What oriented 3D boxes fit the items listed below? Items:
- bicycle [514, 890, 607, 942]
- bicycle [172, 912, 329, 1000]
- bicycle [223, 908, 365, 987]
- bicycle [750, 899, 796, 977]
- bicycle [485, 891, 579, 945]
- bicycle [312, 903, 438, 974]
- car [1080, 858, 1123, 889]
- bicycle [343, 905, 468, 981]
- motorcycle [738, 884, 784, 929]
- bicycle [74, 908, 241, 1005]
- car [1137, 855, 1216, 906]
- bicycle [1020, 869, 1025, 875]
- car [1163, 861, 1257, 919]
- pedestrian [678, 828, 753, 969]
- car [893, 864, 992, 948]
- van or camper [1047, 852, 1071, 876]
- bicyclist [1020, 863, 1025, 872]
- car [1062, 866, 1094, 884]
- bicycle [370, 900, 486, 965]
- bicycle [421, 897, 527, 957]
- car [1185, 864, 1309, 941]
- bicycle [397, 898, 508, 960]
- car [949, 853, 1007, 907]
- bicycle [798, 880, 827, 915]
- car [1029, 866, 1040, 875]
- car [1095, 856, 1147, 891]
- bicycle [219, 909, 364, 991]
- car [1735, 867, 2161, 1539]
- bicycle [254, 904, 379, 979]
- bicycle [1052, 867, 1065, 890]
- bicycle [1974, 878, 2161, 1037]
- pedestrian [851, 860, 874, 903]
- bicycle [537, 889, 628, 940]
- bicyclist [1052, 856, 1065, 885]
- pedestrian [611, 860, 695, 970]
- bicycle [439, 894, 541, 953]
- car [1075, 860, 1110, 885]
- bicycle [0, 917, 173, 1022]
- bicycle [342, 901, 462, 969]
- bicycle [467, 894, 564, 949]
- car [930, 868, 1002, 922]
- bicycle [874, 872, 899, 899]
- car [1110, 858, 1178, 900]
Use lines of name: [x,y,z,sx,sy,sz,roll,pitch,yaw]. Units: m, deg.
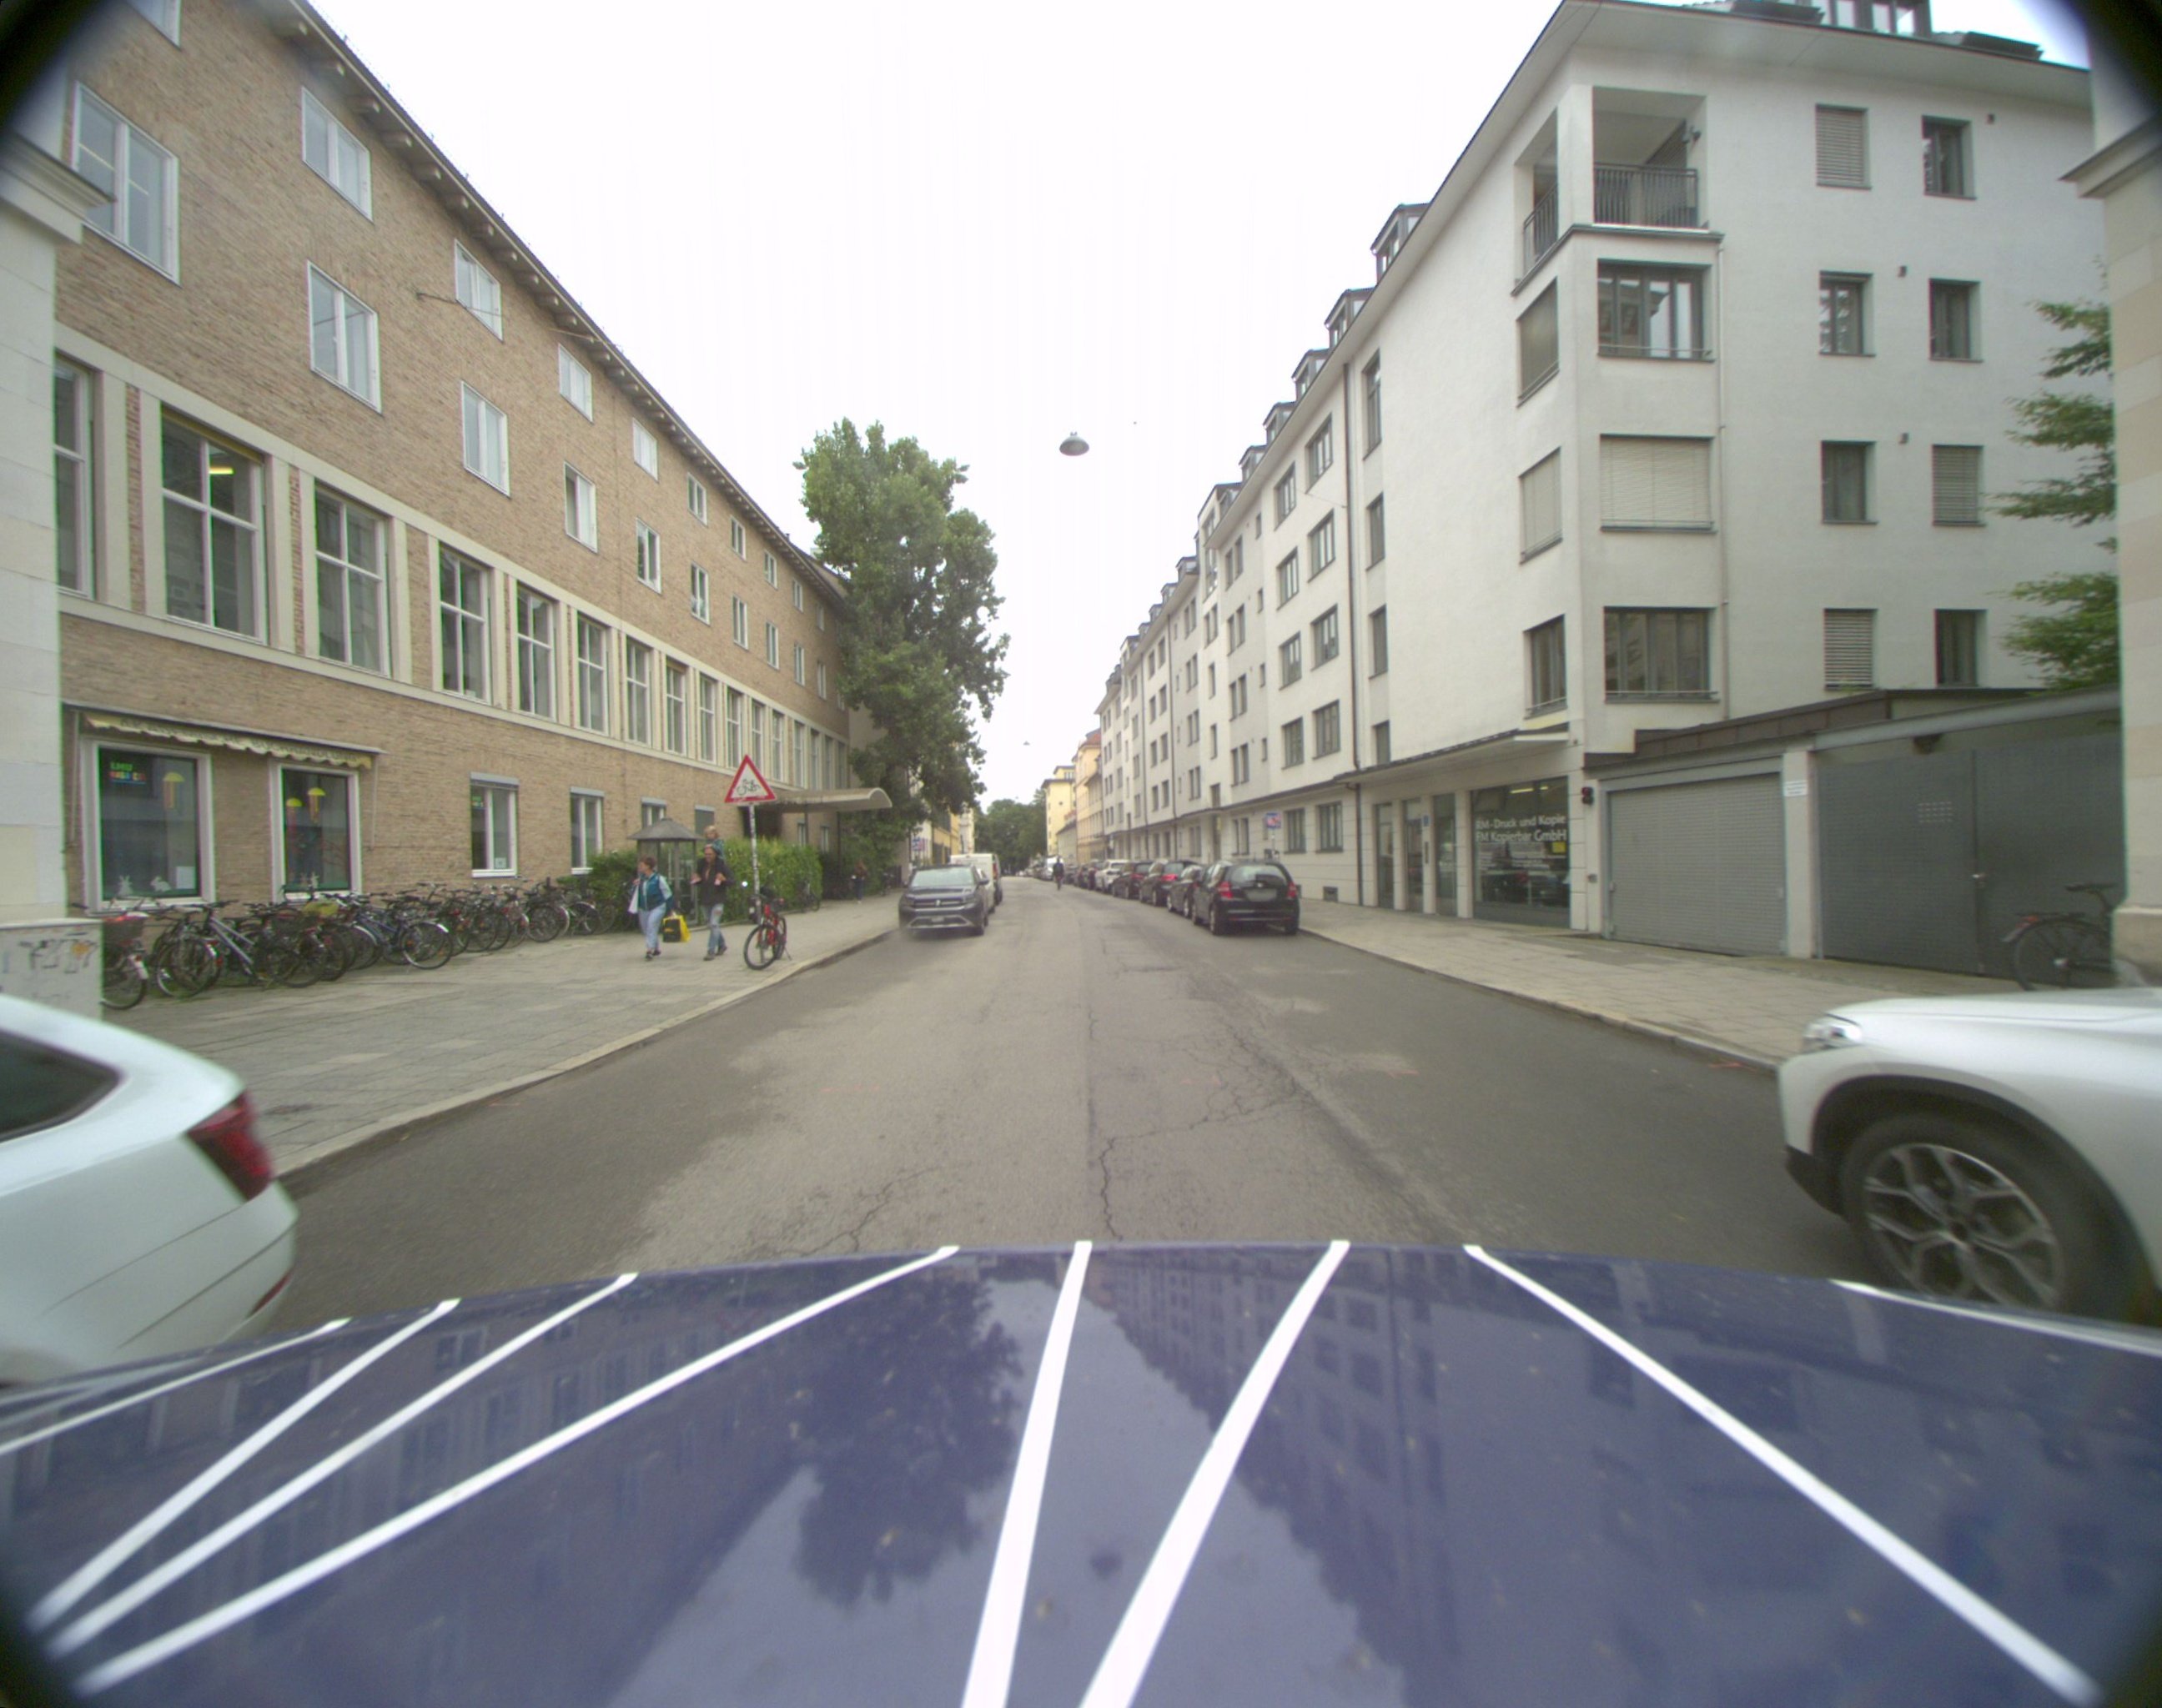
bicycle: [-10.746,1.270,15.699,1.634,1.035,0.348,0,0,-4]
bicycle: [-10.237,1.248,9.376,1.633,1.035,0.348,0,0,4]
bicycle: [-10.845,1.283,10.486,1.633,1.035,0.348,0,0,2]
bicycle: [-4.716,1.254,11.698,0.348,1.035,1.633,1,0,-12]
bicycle: [-10.808,1.254,14.971,1.633,1.035,0.348,0,0,2]
bicycle: [-10.724,1.273,11.555,1.633,1.035,0.348,0,0,2]
car: [1.105,1.114,43.341,1.878,1.678,4.518,0,-1,-6]
bicycle: [-9.660,1.260,10.887,1.433,1.035,0.348,0,0,-2]
motorcycle: [-8.364,1.340,19.911,0.490,1.047,1.923,-2,0,-5]
bicycle: [-10.843,1.196,8.931,1.633,1.088,0.348,0,0,4]
car: [3.225,0.893,26.465,1.878,1.648,4.078,0,-1,-6]
bicycle: [-10.868,3.322,140.993,0.735,1.144,1.998,-2,-1,-7]
car: [3.456,0.947,21.093,1.755,1.444,4.015,0,-1,-2]
pedestrian: [-5.887,0.696,12.279,0.795,2.185,0.814,0,1,4]
car: [-3.015,1.068,17.316,1.752,1.584,3.954,-2,0,-4]
van or camper: [-2.277,1.053,77.557,1.999,2.297,5.476,-1,0,-5]
bicyclist: [-10.853,2.464,141.029,0.688,1.617,0.852,-2,0,-7]
car: [-0.238,1.600,58.127,1.645,1.346,4.055,0,-1,-12]
bicycle: [-10.692,1.281,12.460,1.633,1.035,0.348,0,0,2]
bicycle: [-10.767,1.286,13.483,1.633,1.035,0.348,0,0,2]
car: [3.410,0.956,16.355,1.755,1.444,4.016,0,-1,-1]
bicycle: [-10.791,1.283,13.058,1.633,1.035,0.348,0,0,2]
car: [-3.978,0.956,30.004,1.887,1.913,4.873,-2,0,-4]
bicycle: [-8.532,1.366,24.206,0.423,1.047,1.488,-2,0,-2]
car: [-8.142,2.864,133.703,1.712,1.490,3.998,-1,-1,-6]
car: [1.902,0.970,37.959,1.878,1.648,4.588,0,-1,-6]
bicycle: [-10.379,1.256,10.000,1.633,1.035,0.348,0,0,4]
car: [3.417,0.828,0.787,1.783,1.526,4.210,0,0,-1]
bicycle: [-11.146,1.270,11.092,1.433,1.035,0.348,0,0,-2]
bicycle: [-1.234,1.320,41.839,0.650,1.190,1.950,-1,0,-3]
bicycle: [8.180,0.784,5.901,1.715,1.171,0.476,-1,0,9]
pedestrian: [-8.309,1.034,28.910,0.589,1.623,0.877,-2,0,0]
bicycle: [-10.664,1.287,16.275,1.634,1.035,0.348,0,0,-5]
bicyclist: [-1.241,0.880,41.663,0.659,1.542,0.887,-1,1,-3]
pedestrian: [-6.817,0.952,12.143,0.860,1.683,0.752,-1,0,4]
bicycle: [-10.861,1.274,13.982,1.633,1.035,0.348,0,0,2]
car: [0.682,1.171,48.801,1.779,1.530,4.157,0,-1,-6]
bicycle: [-10.433,1.186,7.908,1.633,1.035,0.348,0,0,4]
bicycle: [-10.730,1.269,12.020,1.633,1.035,0.348,0,0,2]
bicycle: [-10.812,1.287,14.543,1.633,1.035,0.348,0,0,2]
car: [-3.496,1.200,23.725,1.678,1.409,4.200,-2,0,-2]
bicycle: [-8.473,1.360,33.147,0.672,1.067,2.223,-1,0,-6]
car: [2.592,1.047,32.334,1.878,1.648,4.588,0,-1,-9]
